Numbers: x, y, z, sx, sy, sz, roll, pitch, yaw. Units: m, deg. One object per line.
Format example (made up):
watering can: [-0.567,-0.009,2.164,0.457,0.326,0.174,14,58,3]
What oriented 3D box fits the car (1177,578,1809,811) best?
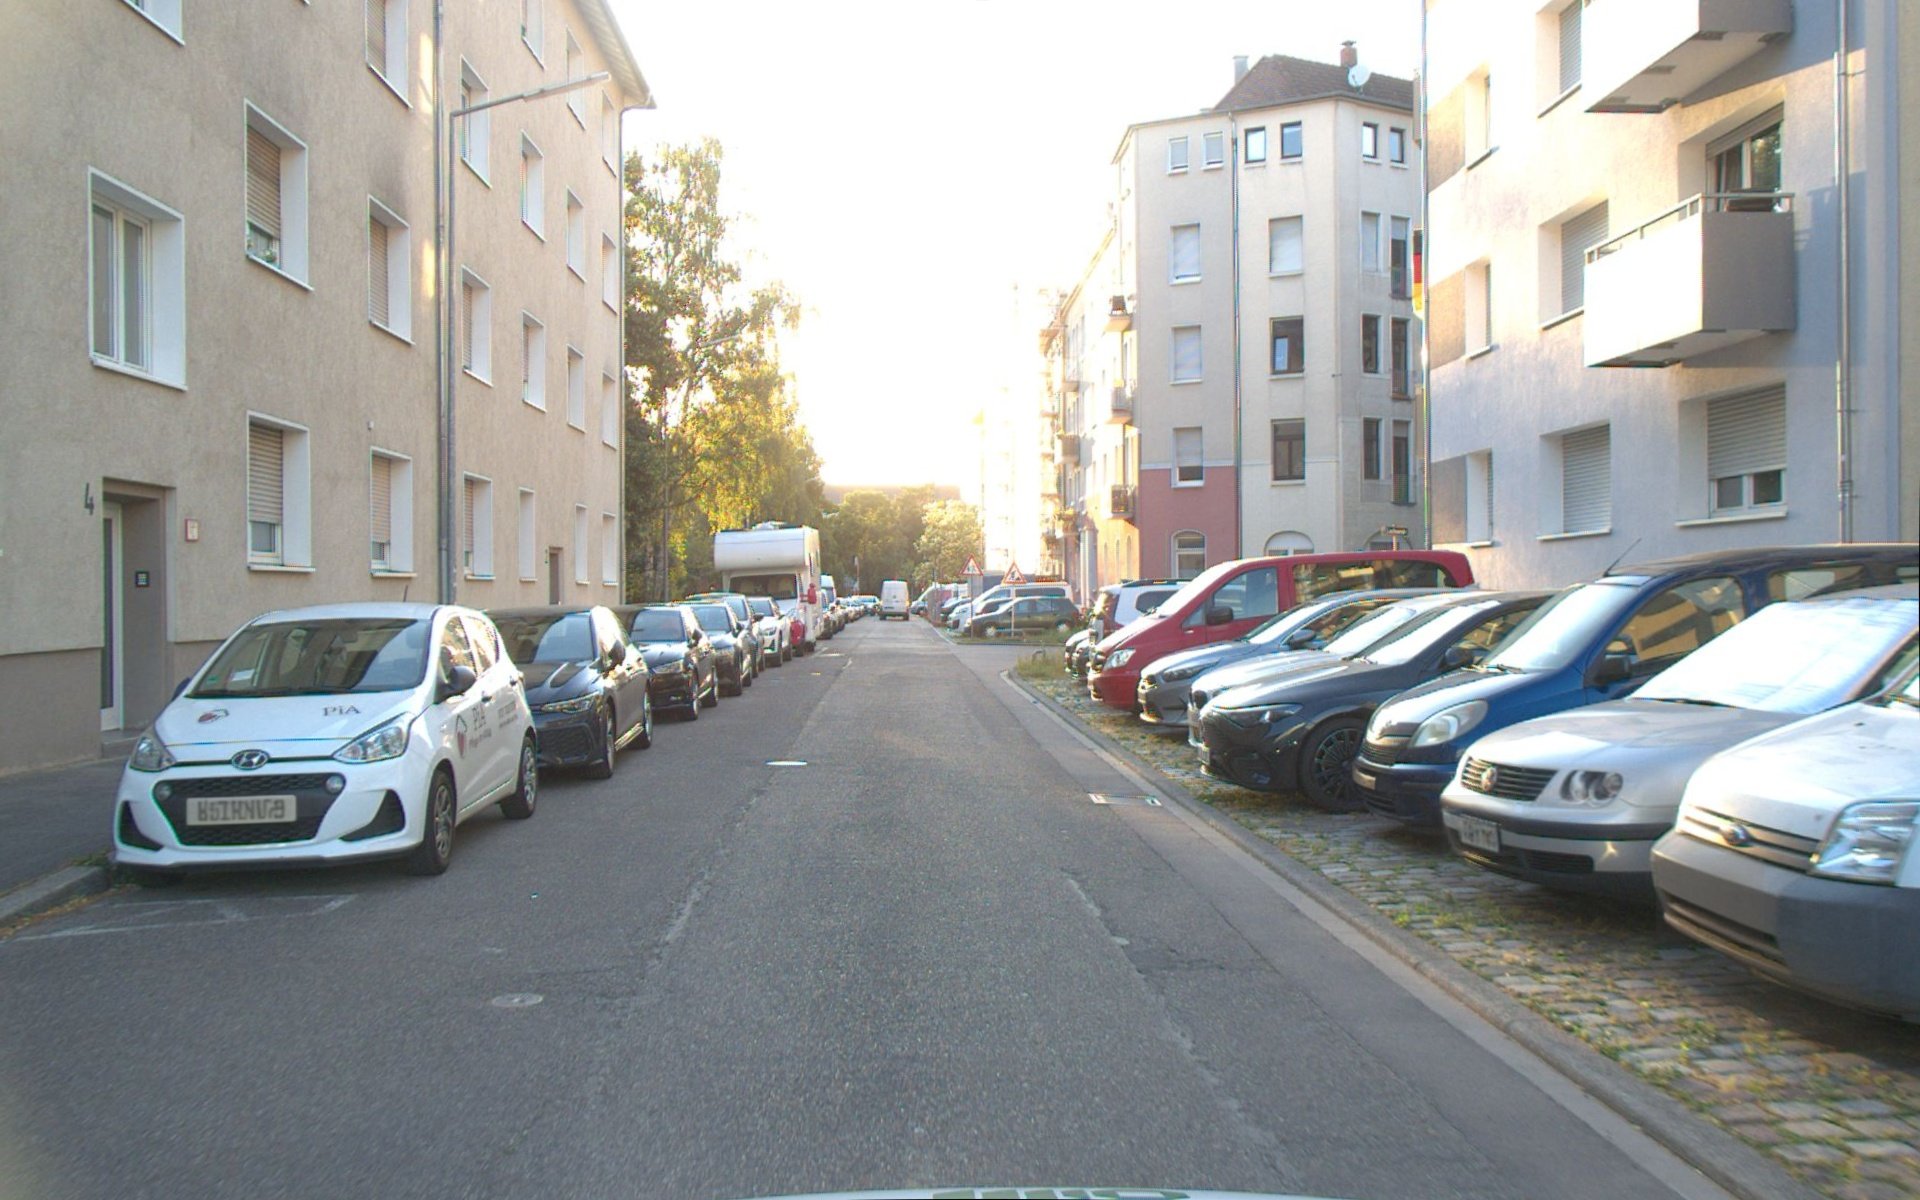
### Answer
car: [3.898,0.662,12.542,4.222,1.475,1.654,-2,0,-2]

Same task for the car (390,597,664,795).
car: [-3.768,0.753,15.049,1.626,1.459,4.028,-2,1,-4]

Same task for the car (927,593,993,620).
car: [-0.024,0.387,101.234,3.907,1.557,1.658,-2,1,-3]

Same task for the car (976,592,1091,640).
car: [2.591,0.567,58.904,3.907,1.557,1.658,-2,1,-3]

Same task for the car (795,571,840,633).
car: [-6.093,0.057,71.118,1.735,2.488,5.141,-2,1,-4]

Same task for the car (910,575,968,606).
car: [-1.769,-0.849,139.361,4.717,2.450,1.738,-2,1,-3]

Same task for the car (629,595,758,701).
car: [-4.162,0.699,26.304,1.620,1.459,3.873,-2,1,-4]

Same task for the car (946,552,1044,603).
car: [1.451,-0.950,69.693,3.910,2.049,1.997,-1,0,-6]

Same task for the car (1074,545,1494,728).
car: [3.853,0.413,20.221,4.628,1.942,2.058,-2,0,-3]

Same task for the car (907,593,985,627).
car: [-0.737,0.495,84.956,3.907,1.557,1.658,-2,1,-3]

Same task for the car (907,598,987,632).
car: [-0.660,0.753,83.000,3.907,1.557,1.658,-2,1,-3]

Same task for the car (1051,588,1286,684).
car: [3.536,0.594,28.381,3.736,1.453,1.633,-2,0,-3]

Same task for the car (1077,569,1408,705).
car: [3.871,0.489,23.120,4.238,1.666,1.817,-2,0,-3]

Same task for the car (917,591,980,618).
car: [-0.746,0.296,105.360,3.907,1.557,1.658,-2,1,-3]

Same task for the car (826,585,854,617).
car: [-7.281,0.036,100.532,1.620,1.862,3.873,-2,1,-4]

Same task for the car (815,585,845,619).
car: [-7.483,0.108,95.588,1.620,1.862,3.873,-2,1,-4]

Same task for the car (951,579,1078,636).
car: [2.070,0.282,63.533,4.717,2.002,1.738,-2,1,-3]

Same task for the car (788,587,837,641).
car: [-5.370,0.485,60.549,1.620,1.862,3.873,-2,1,-4]

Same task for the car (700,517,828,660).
car: [-4.999,-0.319,43.454,2.567,3.325,7.694,-2,1,-2]

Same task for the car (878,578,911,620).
car: [-4.561,-0.105,114.598,2.087,2.764,4.829,-2,1,-4]

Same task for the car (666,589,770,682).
car: [-4.591,0.631,31.771,1.620,1.592,3.873,-2,1,-4]

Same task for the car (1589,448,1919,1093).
car: [4.639,0.480,5.815,4.193,1.893,1.741,0,0,-2]

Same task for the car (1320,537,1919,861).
car: [4.309,0.542,10.266,3.715,1.725,1.654,-2,0,-2]

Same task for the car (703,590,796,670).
car: [-4.558,0.613,36.210,1.620,1.568,3.874,-2,1,-2]

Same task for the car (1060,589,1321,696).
car: [3.526,0.634,25.668,3.736,1.453,1.633,-2,0,-3]

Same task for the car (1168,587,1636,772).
car: [3.959,0.680,15.172,3.799,1.441,1.635,-2,0,-4]

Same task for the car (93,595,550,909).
car: [-3.659,0.759,10.130,1.584,1.499,3.502,-2,1,-4]

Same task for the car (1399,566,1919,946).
car: [4.263,0.624,7.842,3.876,1.548,1.705,-1,1,-2]

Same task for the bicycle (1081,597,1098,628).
bicycle: [5.525,0.529,70.652,0.507,1.249,1.980,0,1,-2]

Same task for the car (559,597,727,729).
car: [-3.985,0.731,21.293,1.620,1.459,3.793,-2,1,-4]

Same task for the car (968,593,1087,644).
car: [2.279,0.613,56.572,3.907,1.557,1.658,-2,1,-3]

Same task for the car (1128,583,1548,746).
car: [3.967,0.651,17.735,4.063,1.496,1.635,-2,0,-3]
